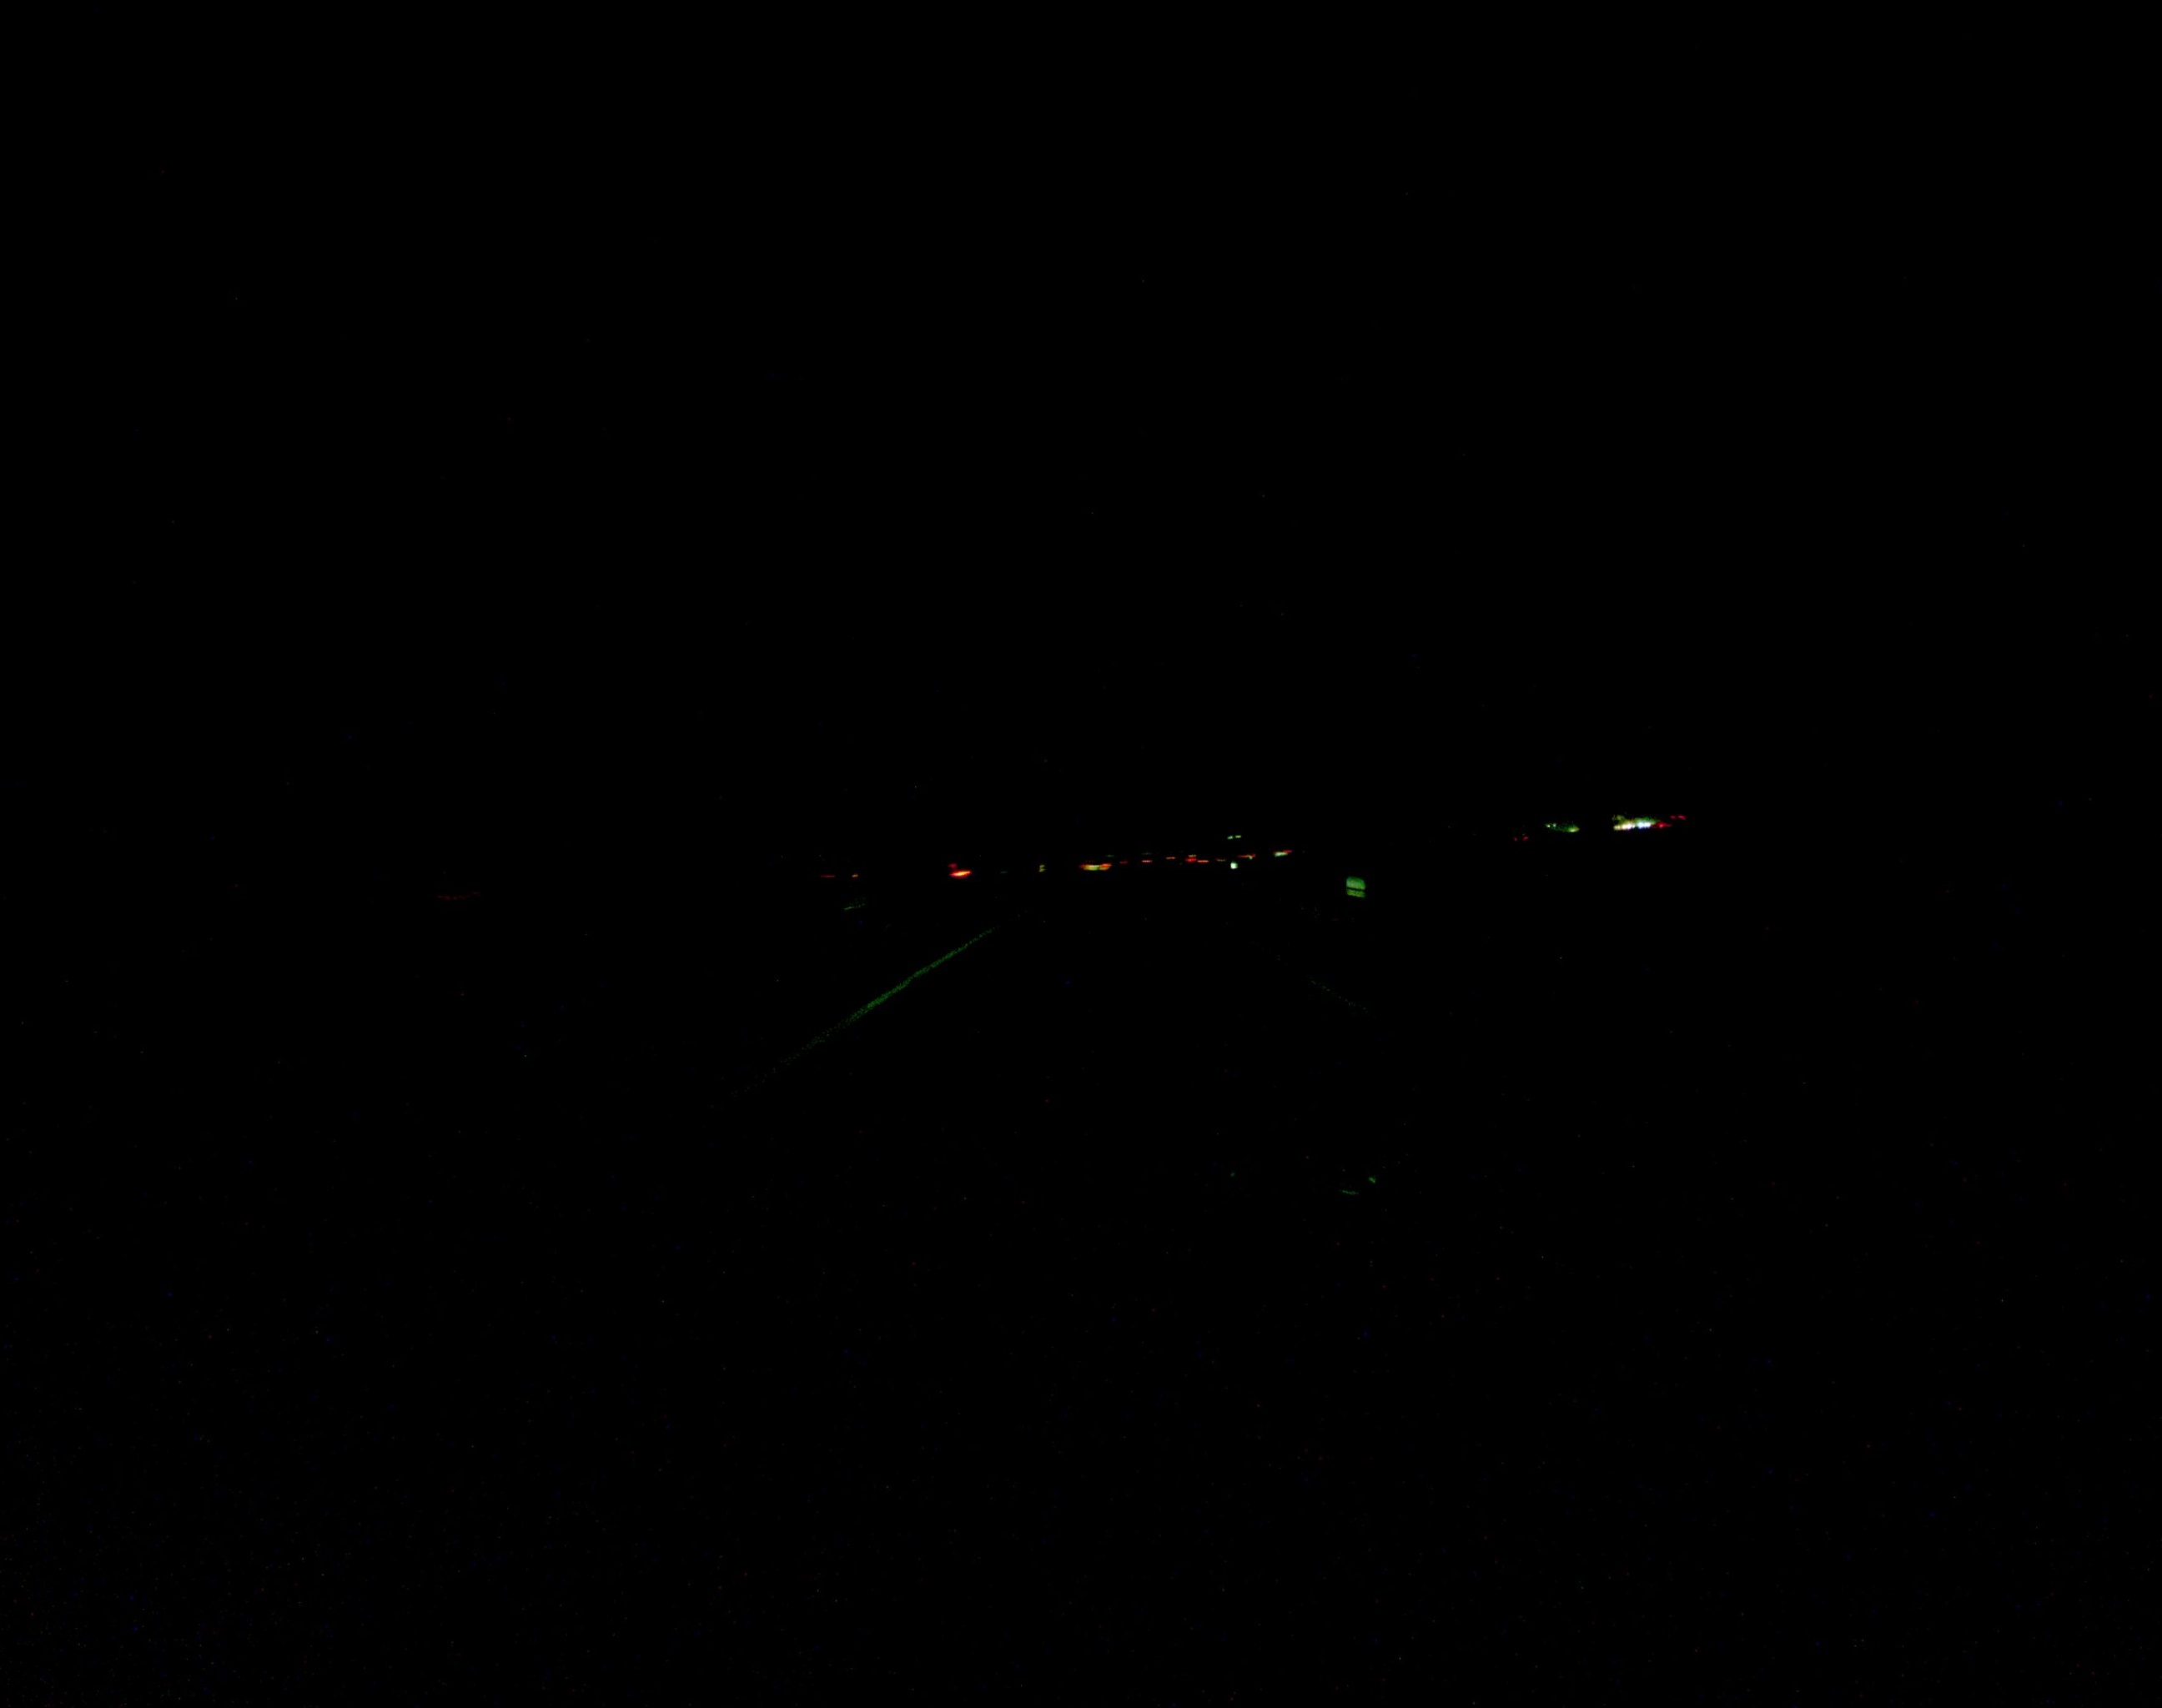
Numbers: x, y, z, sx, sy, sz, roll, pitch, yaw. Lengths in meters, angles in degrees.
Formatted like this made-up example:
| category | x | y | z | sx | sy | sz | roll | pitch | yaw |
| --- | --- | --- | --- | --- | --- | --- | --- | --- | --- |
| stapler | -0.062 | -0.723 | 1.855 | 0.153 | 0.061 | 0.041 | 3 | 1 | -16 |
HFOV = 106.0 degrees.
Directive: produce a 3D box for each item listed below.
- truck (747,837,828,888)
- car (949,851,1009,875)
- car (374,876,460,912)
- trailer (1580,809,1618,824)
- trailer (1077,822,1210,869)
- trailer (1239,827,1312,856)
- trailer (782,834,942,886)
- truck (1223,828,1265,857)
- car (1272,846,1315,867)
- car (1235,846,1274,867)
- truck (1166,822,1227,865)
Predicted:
| category | x | y | z | sx | sy | sz | roll | pitch | yaw |
| --- | --- | --- | --- | --- | --- | --- | --- | --- | --- |
| truck | -24.878 | 0.642 | 69.215 | 5.779 | 4.028 | 2.746 | -3 | 1 | -41 |
| car | -7.579 | 0.615 | 60.621 | 4.020 | 1.618 | 1.977 | -2 | 1 | -39 |
| car | -41.502 | 2.445 | 50.960 | 4.022 | 1.903 | 1.897 | -3 | 1 | -42 |
| trailer | 97.203 | -7.023 | 152.644 | 12.929 | 2.699 | 2.663 | -3 | 1 | -42 |
| trailer | 5.588 | -0.839 | 69.202 | 13.728 | 3.724 | 2.569 | -2 | 1 | -42 |
| trailer | 27.799 | -1.822 | 115.710 | 14.020 | 3.730 | 2.629 | -3 | 1 | -42 |
| trailer | -19.491 | 0.391 | 73.854 | 14.089 | 4.028 | 2.746 | -3 | 1 | -41 |
| truck | 22.189 | -1.555 | 110.650 | 5.735 | 3.730 | 2.629 | -3 | 1 | -42 |
| car | 20.186 | 0.258 | 77.271 | 4.023 | 1.818 | 1.976 | -3 | 1 | -43 |
| car | 18.248 | 0.288 | 85.507 | 4.022 | 2.013 | 1.976 | -3 | 1 | -41 |
| truck | 10.512 | -0.988 | 73.734 | 5.489 | 3.711 | 2.565 | -2 | 1 | -43 |
